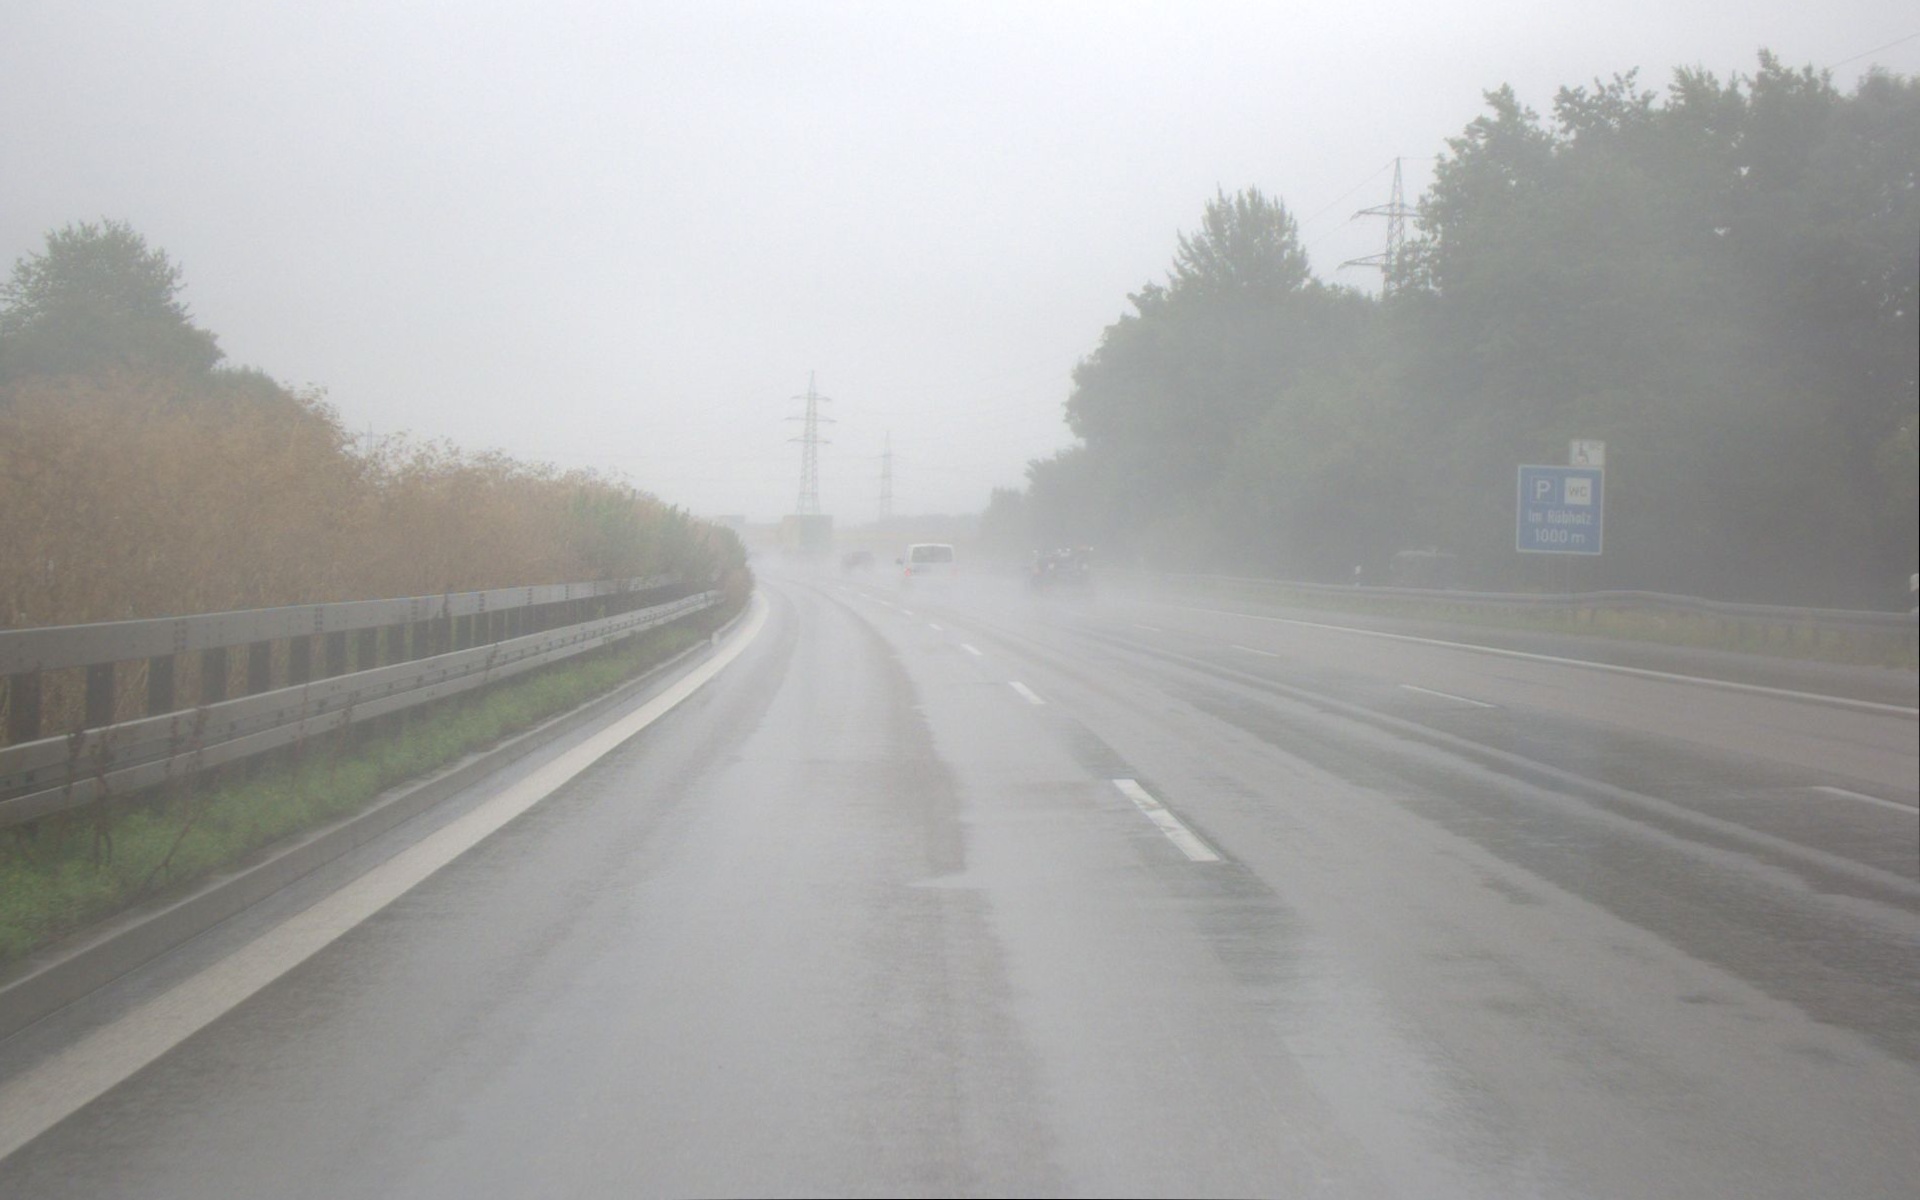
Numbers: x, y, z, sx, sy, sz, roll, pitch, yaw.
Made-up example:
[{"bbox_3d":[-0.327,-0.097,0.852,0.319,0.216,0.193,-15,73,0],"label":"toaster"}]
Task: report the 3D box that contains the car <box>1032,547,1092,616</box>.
[{"bbox_3d":[3.294,-0.609,111.679,1.807,2.151,4.000,1,1,0],"label":"car"}]
